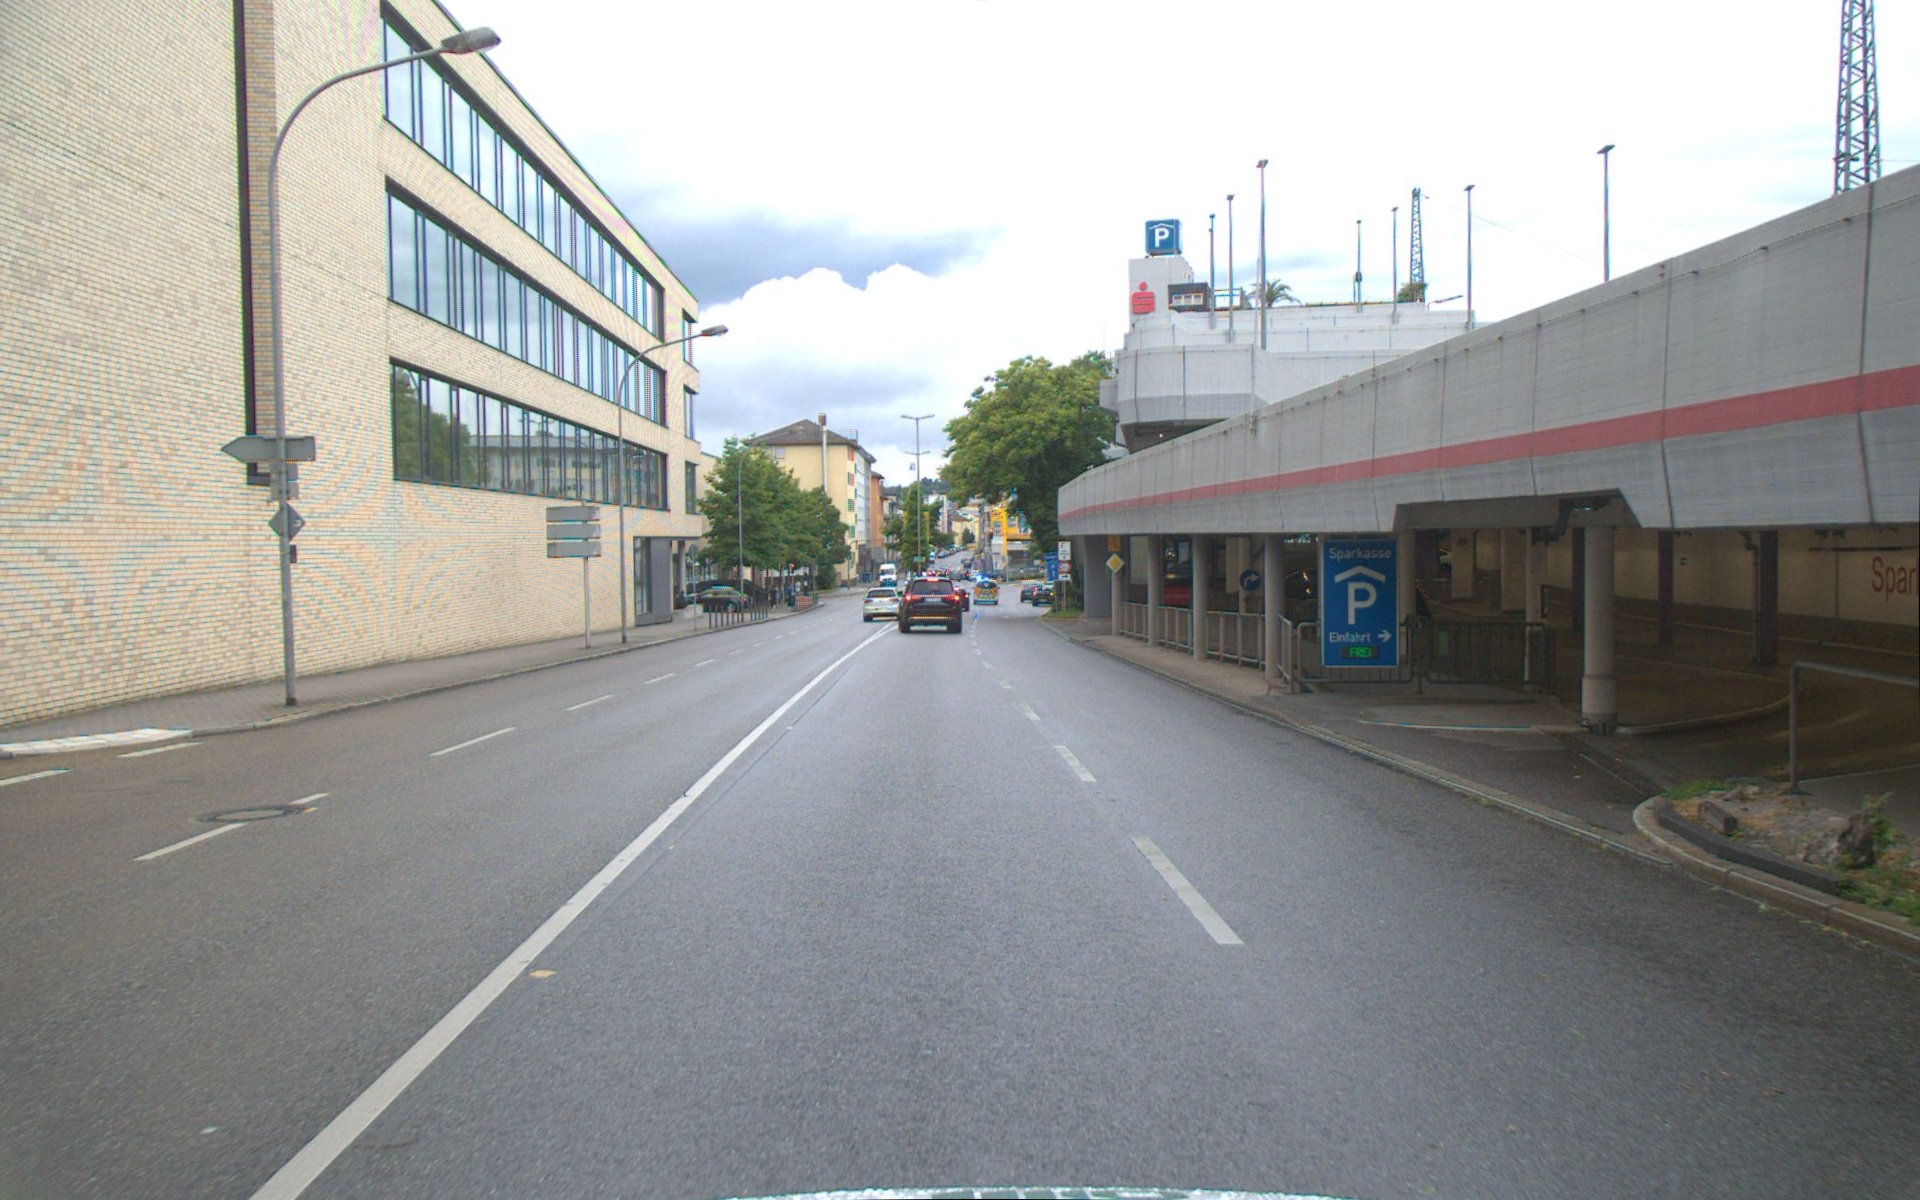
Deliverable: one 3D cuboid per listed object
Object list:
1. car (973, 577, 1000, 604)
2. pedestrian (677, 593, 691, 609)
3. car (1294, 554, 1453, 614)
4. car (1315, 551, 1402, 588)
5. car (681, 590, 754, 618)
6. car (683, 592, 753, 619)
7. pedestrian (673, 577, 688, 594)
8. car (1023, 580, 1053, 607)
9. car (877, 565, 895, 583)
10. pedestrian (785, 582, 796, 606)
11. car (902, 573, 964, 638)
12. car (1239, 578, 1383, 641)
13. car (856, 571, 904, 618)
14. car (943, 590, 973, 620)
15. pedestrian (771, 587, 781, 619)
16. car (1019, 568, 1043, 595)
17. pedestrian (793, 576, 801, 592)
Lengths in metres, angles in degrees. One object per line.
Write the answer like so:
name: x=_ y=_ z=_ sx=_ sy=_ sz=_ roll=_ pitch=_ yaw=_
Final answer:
car: x=2.033 y=-0.705 z=126.920 sx=1.953 sy=2.049 sz=3.999 roll=1 pitch=0 yaw=-1
pedestrian: x=-14.070 y=0.074 z=84.238 sx=0.585 sy=0.800 sz=0.760 roll=1 pitch=0 yaw=0
car: x=12.303 y=-0.470 z=49.403 sx=4.478 sy=1.668 sz=1.823 roll=1 pitch=0 yaw=10
car: x=19.117 y=-1.440 z=79.504 sx=3.902 sy=1.668 sz=2.002 roll=1 pitch=0 yaw=9
car: x=-15.147 y=0.243 z=103.318 sx=4.382 sy=1.614 sz=1.998 roll=-2 pitch=1 yaw=-6
car: x=-15.426 y=0.354 z=105.420 sx=4.332 sy=1.601 sz=1.998 roll=0 pitch=2 yaw=-7
pedestrian: x=-14.911 y=-0.789 z=88.301 sx=0.667 sy=0.901 sz=0.524 roll=1 pitch=0 yaw=0
car: x=5.897 y=-0.510 z=125.024 sx=1.953 sy=2.049 sz=3.999 roll=0 pitch=1 yaw=-1
car: x=-8.653 y=-3.031 z=193.281 sx=1.953 sy=1.908 sz=5.140 roll=1 pitch=0 yaw=-1
pedestrian: x=-12.709 y=-0.472 z=124.200 sx=0.674 sy=1.756 sz=0.754 roll=1 pitch=-3 yaw=0
car: x=-0.887 y=0.197 z=54.875 sx=1.953 sy=2.049 sz=3.999 roll=1 pitch=0 yaw=-1
car: x=9.445 y=0.245 z=44.696 sx=3.644 sy=1.531 sz=1.809 roll=-2 pitch=1 yaw=8
car: x=-3.566 y=-0.229 z=74.376 sx=1.953 sy=2.049 sz=3.999 roll=1 pitch=0 yaw=-1
car: x=-0.140 y=0.311 z=100.599 sx=1.669 sy=1.746 sz=3.441 roll=1 pitch=0 yaw=-3
pedestrian: x=-11.619 y=0.187 z=104.400 sx=0.576 sy=2.049 sz=0.749 roll=1 pitch=-1 yaw=-2
car: x=5.890 y=-1.506 z=136.706 sx=1.952 sy=2.165 sz=4.001 roll=1 pitch=0 yaw=2
pedestrian: x=-15.423 y=-1.477 z=156.414 sx=0.697 sy=1.487 sz=0.598 roll=1 pitch=-1 yaw=-1
